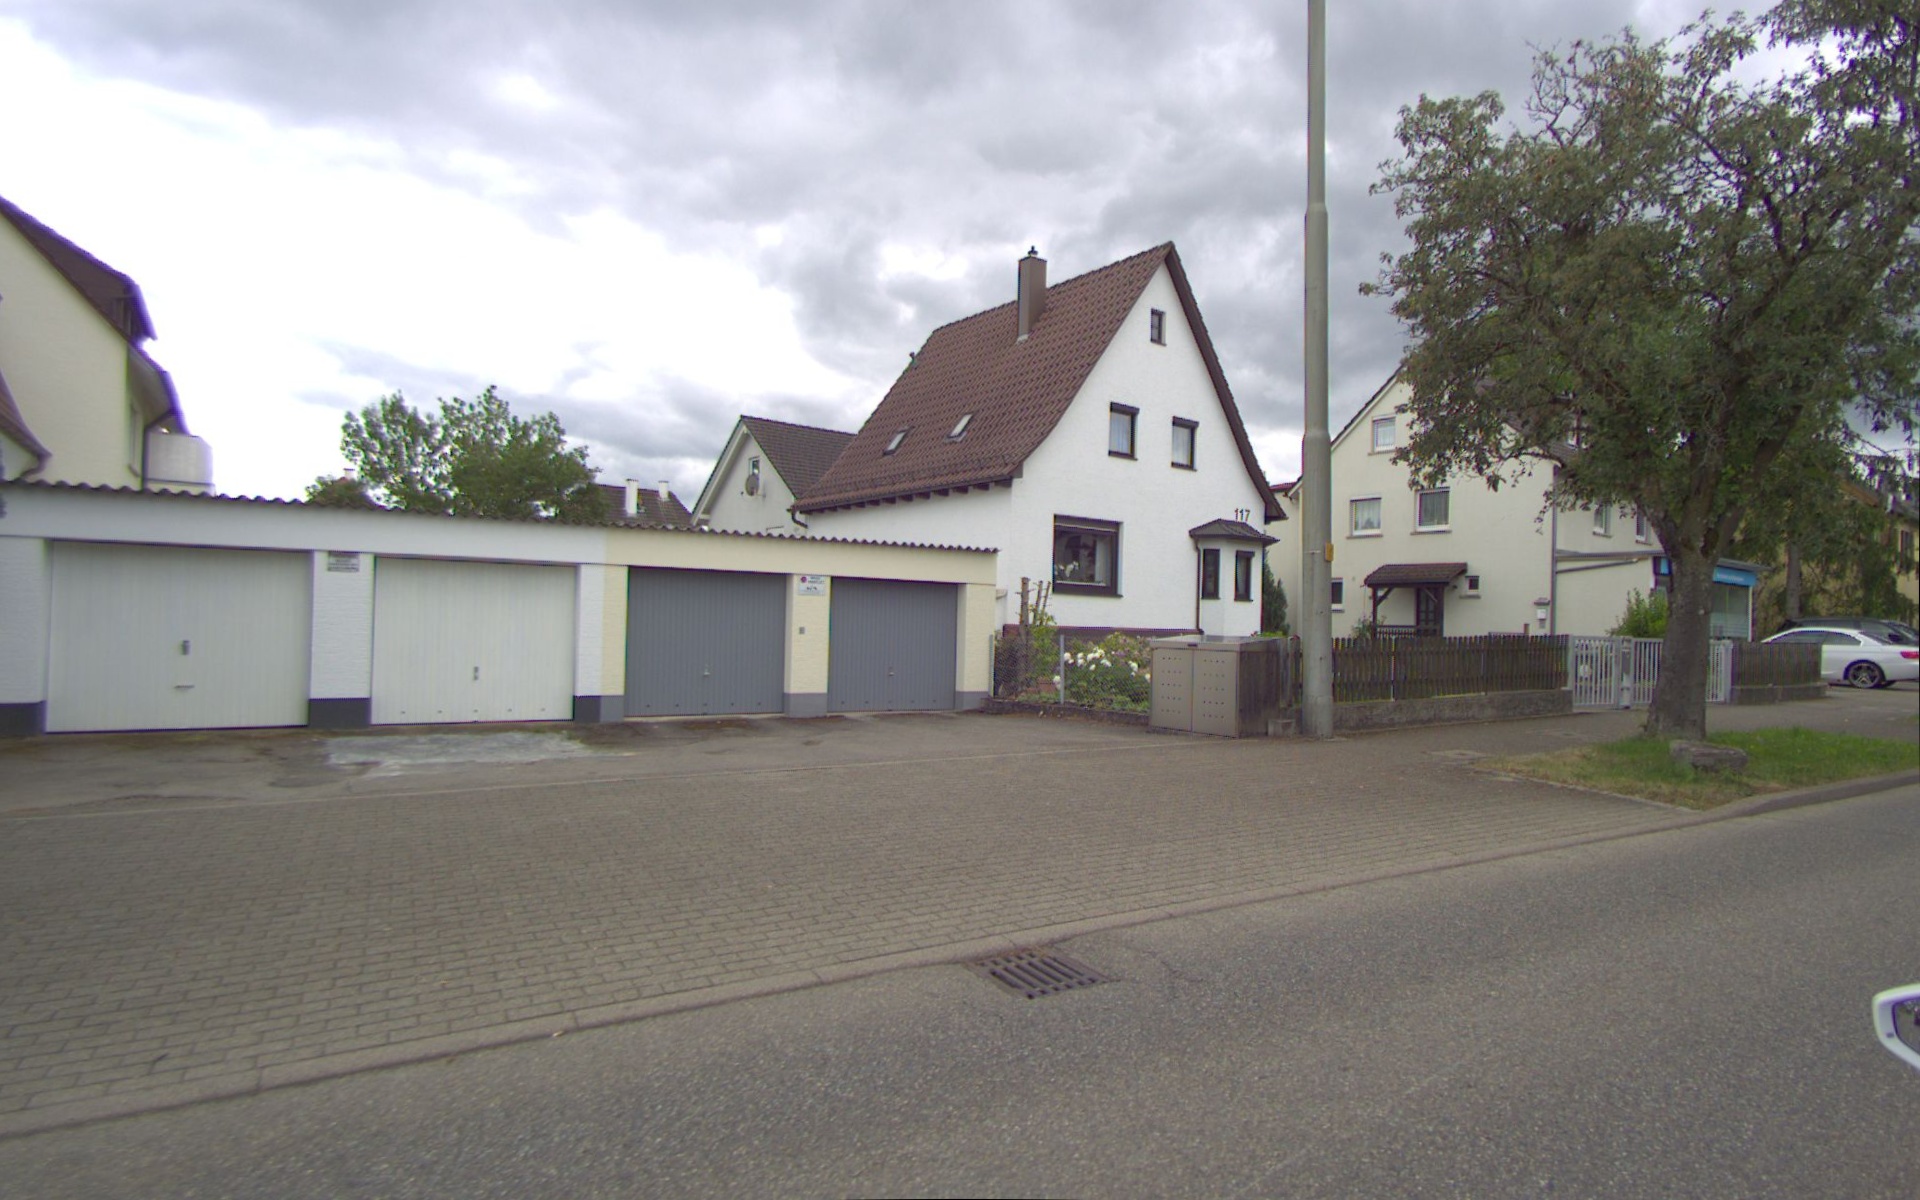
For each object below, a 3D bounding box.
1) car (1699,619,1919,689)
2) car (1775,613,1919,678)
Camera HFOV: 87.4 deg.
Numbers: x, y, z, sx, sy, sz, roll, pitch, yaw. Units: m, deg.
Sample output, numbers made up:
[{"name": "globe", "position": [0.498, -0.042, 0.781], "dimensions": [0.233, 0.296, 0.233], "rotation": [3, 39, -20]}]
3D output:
[{"name": "car", "position": [21.224, 1.279, 24.944], "dimensions": [1.799, 1.386, 4.247], "rotation": [2, 1, -36]}, {"name": "car", "position": [25.826, 1.253, 28.069], "dimensions": [1.950, 1.639, 4.313], "rotation": [2, 0, -29]}]
